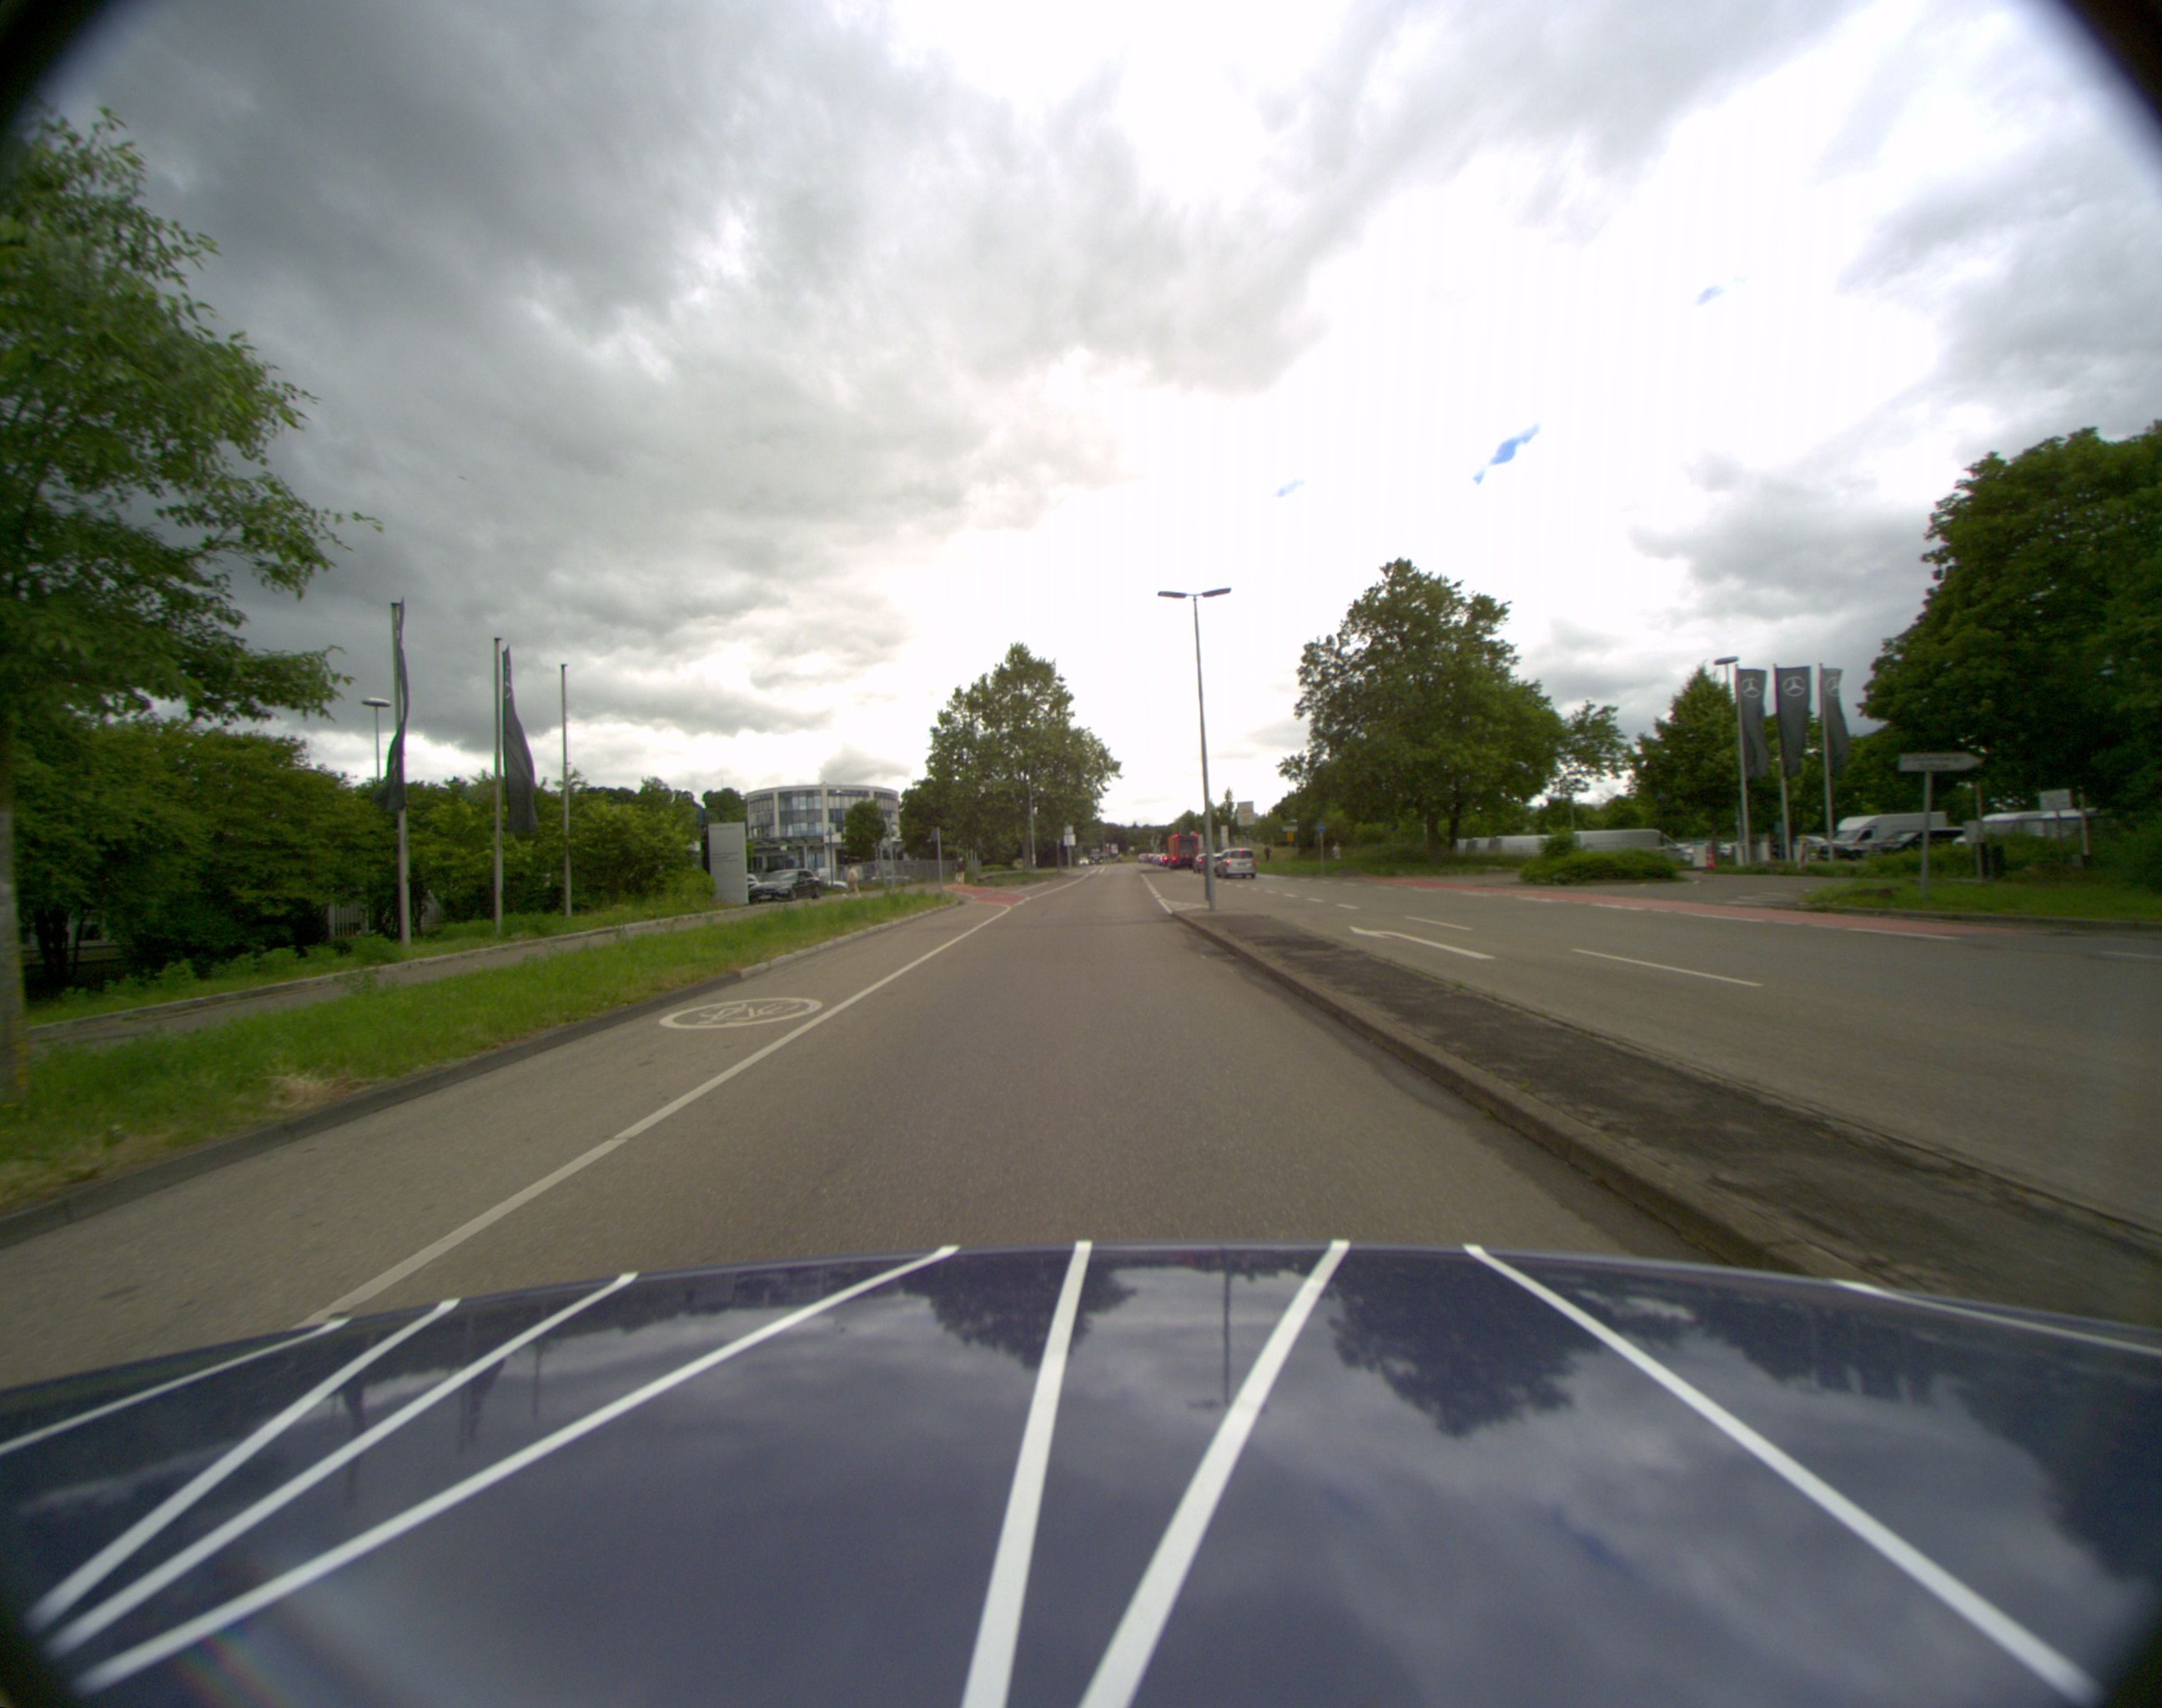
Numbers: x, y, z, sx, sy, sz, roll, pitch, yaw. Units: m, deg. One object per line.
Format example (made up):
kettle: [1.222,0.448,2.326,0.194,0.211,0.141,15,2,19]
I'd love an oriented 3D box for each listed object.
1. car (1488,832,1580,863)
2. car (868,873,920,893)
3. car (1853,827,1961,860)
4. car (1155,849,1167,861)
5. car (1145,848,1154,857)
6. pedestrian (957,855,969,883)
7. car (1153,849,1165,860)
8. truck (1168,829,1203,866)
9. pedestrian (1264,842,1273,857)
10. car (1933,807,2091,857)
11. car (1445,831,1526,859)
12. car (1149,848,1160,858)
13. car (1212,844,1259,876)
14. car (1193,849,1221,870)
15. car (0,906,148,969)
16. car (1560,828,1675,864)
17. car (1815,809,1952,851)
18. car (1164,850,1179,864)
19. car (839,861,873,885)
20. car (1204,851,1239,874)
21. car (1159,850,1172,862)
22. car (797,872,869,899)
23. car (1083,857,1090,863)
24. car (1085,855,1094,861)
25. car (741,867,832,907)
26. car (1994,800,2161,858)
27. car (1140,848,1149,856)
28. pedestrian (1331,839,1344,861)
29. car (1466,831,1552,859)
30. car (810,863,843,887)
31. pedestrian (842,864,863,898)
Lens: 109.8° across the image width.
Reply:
car: [31.232,-0.446,52.451,5.297,2.002,1.739,-1,1,0]
car: [-16.719,2.572,68.056,4.188,1.440,1.819,-5,-1,-1]
car: [53.028,-0.676,48.828,4.944,1.796,1.999,-3,1,-3]
car: [11.316,0.160,107.331,1.591,1.608,3.584,-2,0,4]
car: [12.380,-0.283,136.999,1.591,1.608,3.584,-2,0,4]
pedestrian: [-7.585,0.961,48.818,0.734,1.717,0.501,-1,1,-3]
car: [11.632,0.033,113.691,1.591,1.608,3.584,-2,0,4]
truck: [10.541,-0.662,77.166,2.831,3.460,7.824,-2,1,4]
pedestrian: [19.439,-0.455,78.725,0.757,1.439,0.639,-3,2,0]
car: [53.129,-1.249,43.428,6.959,2.399,1.999,-3,1,-3]
car: [30.756,-0.699,57.871,5.298,2.002,1.739,-1,1,-1]
car: [11.969,-0.159,123.751,1.591,1.608,3.584,-2,0,4]
car: [9.379,0.338,46.376,1.833,1.759,4.406,-3,0,-1]
car: [10.020,0.438,60.536,1.639,1.553,3.351,-2,0,1]
car: [-24.935,1.991,18.108,1.598,1.288,3.078,-3,-1,-1]
car: [31.175,-0.487,44.268,5.298,2.002,2.011,-1,1,-1]
car: [54.115,-1.613,51.306,6.956,2.399,2.000,-3,1,1]
car: [11.004,0.308,92.191,1.591,1.608,3.352,-2,0,4]
car: [-22.616,1.968,76.202,2.119,2.261,4.473,-2,-1,-32]
car: [9.649,0.549,52.544,1.733,1.477,4.122,-1,0,1]
car: [11.215,0.243,100.745,1.591,1.608,3.584,-2,0,4]
car: [-16.509,2.090,50.745,3.996,1.310,2.001,-6,-1,4]
car: [1.253,1.377,180.918,1.592,1.481,3.583,-2,0,0]
car: [2.291,1.148,203.765,1.593,1.481,3.580,-2,0,-11]
car: [-12.681,1.365,33.149,1.851,1.408,4.981,-4,0,1]
car: [53.147,-1.335,40.485,6.959,2.671,1.999,-3,1,-3]
car: [11.889,-0.378,142.800,1.591,1.608,3.584,-2,0,4]
pedestrian: [20.648,-0.310,61.185,0.757,1.727,0.638,-3,2,-8]
car: [31.241,-0.655,55.540,5.298,2.002,1.739,-1,1,-1]
car: [-25.408,2.134,75.815,2.119,2.261,4.473,-2,-1,-32]
pedestrian: [-11.016,1.277,36.591,0.813,1.558,0.942,-2,2,-26]
